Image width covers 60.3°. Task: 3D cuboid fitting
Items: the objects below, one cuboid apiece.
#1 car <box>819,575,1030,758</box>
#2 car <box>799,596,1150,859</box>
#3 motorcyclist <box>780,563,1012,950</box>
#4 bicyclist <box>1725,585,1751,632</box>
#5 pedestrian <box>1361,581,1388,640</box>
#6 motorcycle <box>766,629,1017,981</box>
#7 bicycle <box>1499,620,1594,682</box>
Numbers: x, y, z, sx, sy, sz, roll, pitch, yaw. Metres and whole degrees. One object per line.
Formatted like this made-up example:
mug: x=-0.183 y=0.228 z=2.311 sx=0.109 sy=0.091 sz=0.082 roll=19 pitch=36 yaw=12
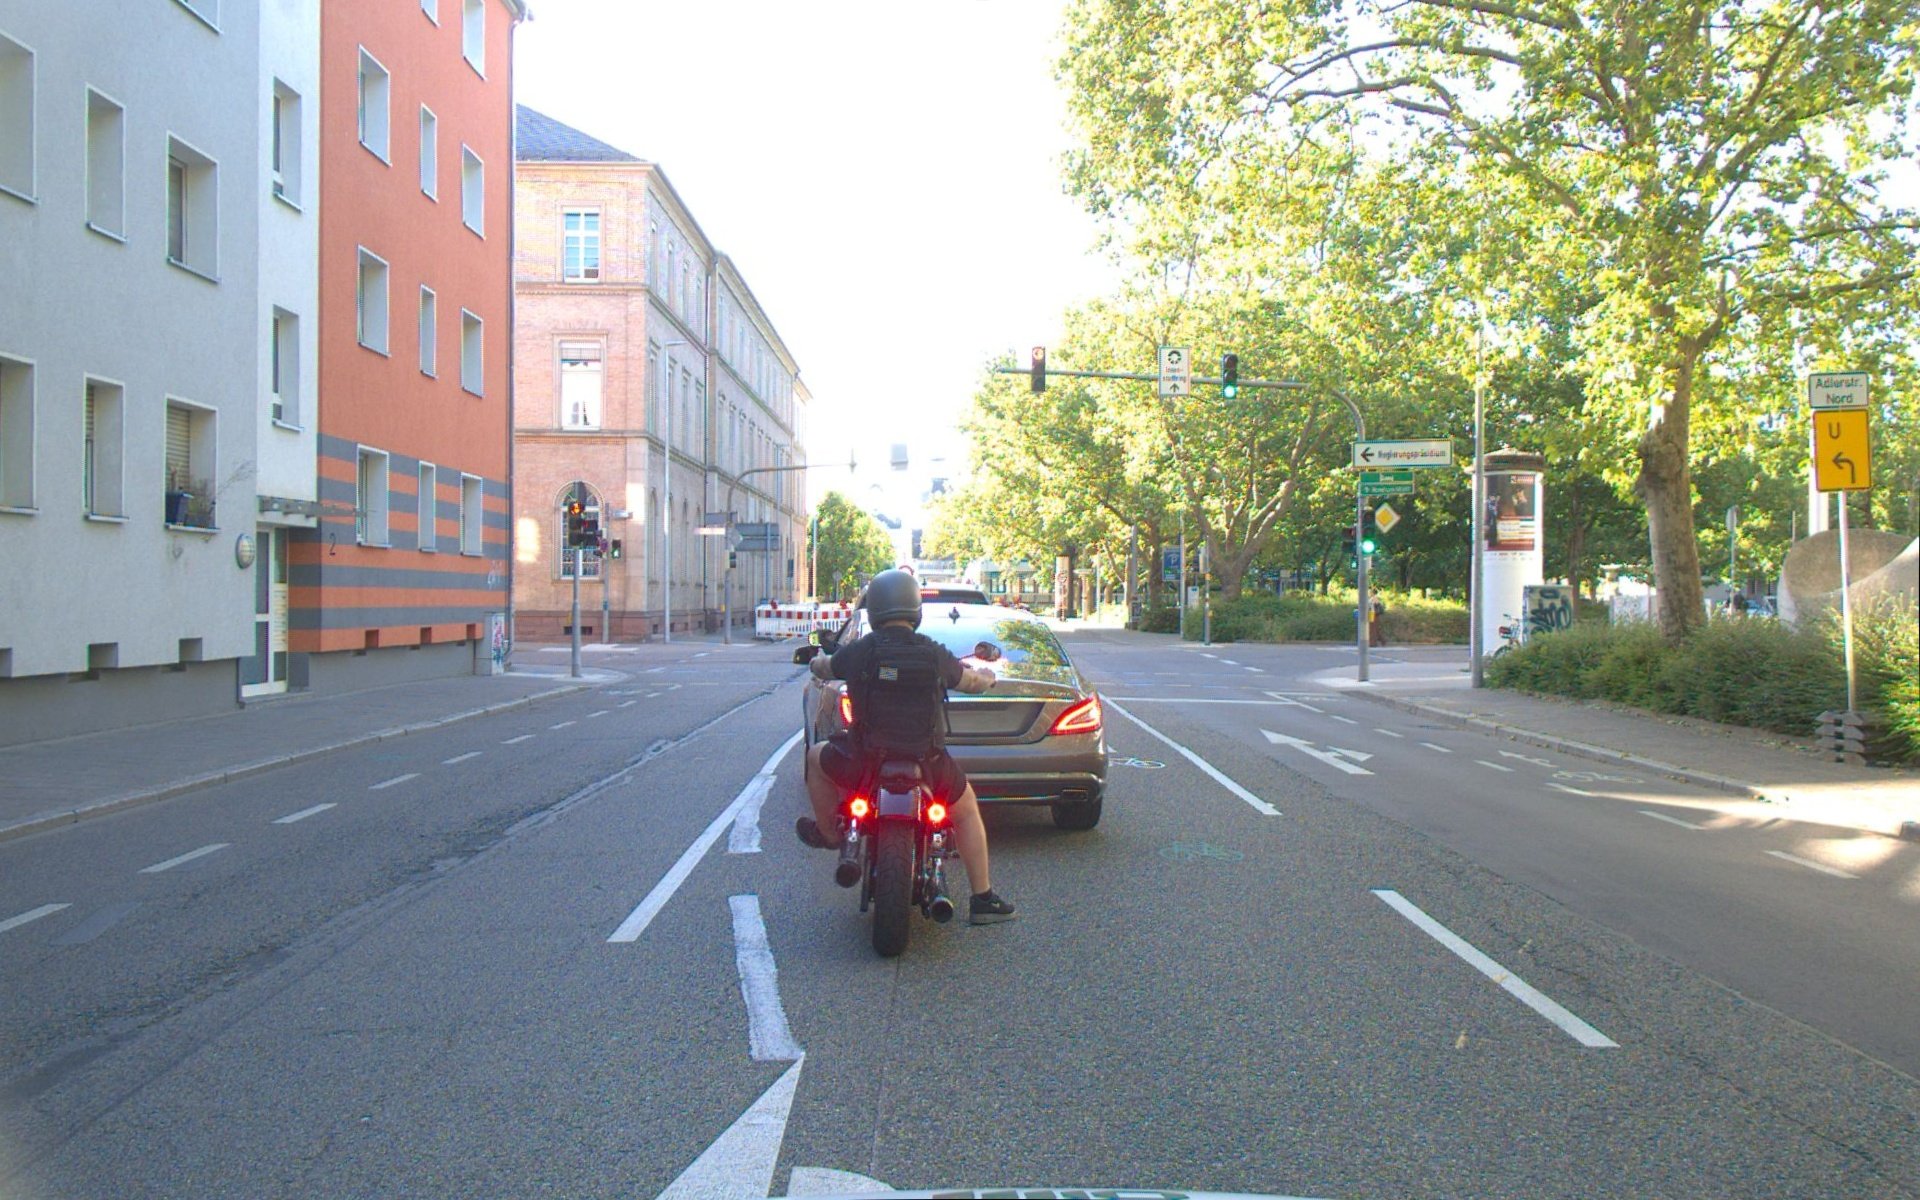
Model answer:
car: x=-0.364 y=0.634 z=17.540 sx=1.953 sy=1.695 sz=3.999 roll=1 pitch=0 yaw=-1
car: x=-0.115 y=0.710 z=11.621 sx=1.834 sy=1.469 sz=4.422 roll=0 pitch=0 yaw=-8
motorcyclist: x=-0.275 y=0.648 z=7.498 sx=0.961 sy=1.606 sz=1.248 roll=0 pitch=0 yaw=-1
bicyclist: x=23.081 y=0.261 z=49.063 sx=0.511 sy=1.371 sz=0.543 roll=1 pitch=-1 yaw=2
pedestrian: x=12.793 y=0.336 z=51.026 sx=0.664 sy=1.803 sz=0.616 roll=1 pitch=-1 yaw=29
motorcycle: x=-0.279 y=0.807 z=7.558 sx=0.961 sy=1.297 sz=2.407 roll=0 pitch=0 yaw=-1
bicycle: x=9.785 y=0.840 z=27.597 sx=1.452 sy=0.997 sz=0.299 roll=1 pitch=-1 yaw=5
